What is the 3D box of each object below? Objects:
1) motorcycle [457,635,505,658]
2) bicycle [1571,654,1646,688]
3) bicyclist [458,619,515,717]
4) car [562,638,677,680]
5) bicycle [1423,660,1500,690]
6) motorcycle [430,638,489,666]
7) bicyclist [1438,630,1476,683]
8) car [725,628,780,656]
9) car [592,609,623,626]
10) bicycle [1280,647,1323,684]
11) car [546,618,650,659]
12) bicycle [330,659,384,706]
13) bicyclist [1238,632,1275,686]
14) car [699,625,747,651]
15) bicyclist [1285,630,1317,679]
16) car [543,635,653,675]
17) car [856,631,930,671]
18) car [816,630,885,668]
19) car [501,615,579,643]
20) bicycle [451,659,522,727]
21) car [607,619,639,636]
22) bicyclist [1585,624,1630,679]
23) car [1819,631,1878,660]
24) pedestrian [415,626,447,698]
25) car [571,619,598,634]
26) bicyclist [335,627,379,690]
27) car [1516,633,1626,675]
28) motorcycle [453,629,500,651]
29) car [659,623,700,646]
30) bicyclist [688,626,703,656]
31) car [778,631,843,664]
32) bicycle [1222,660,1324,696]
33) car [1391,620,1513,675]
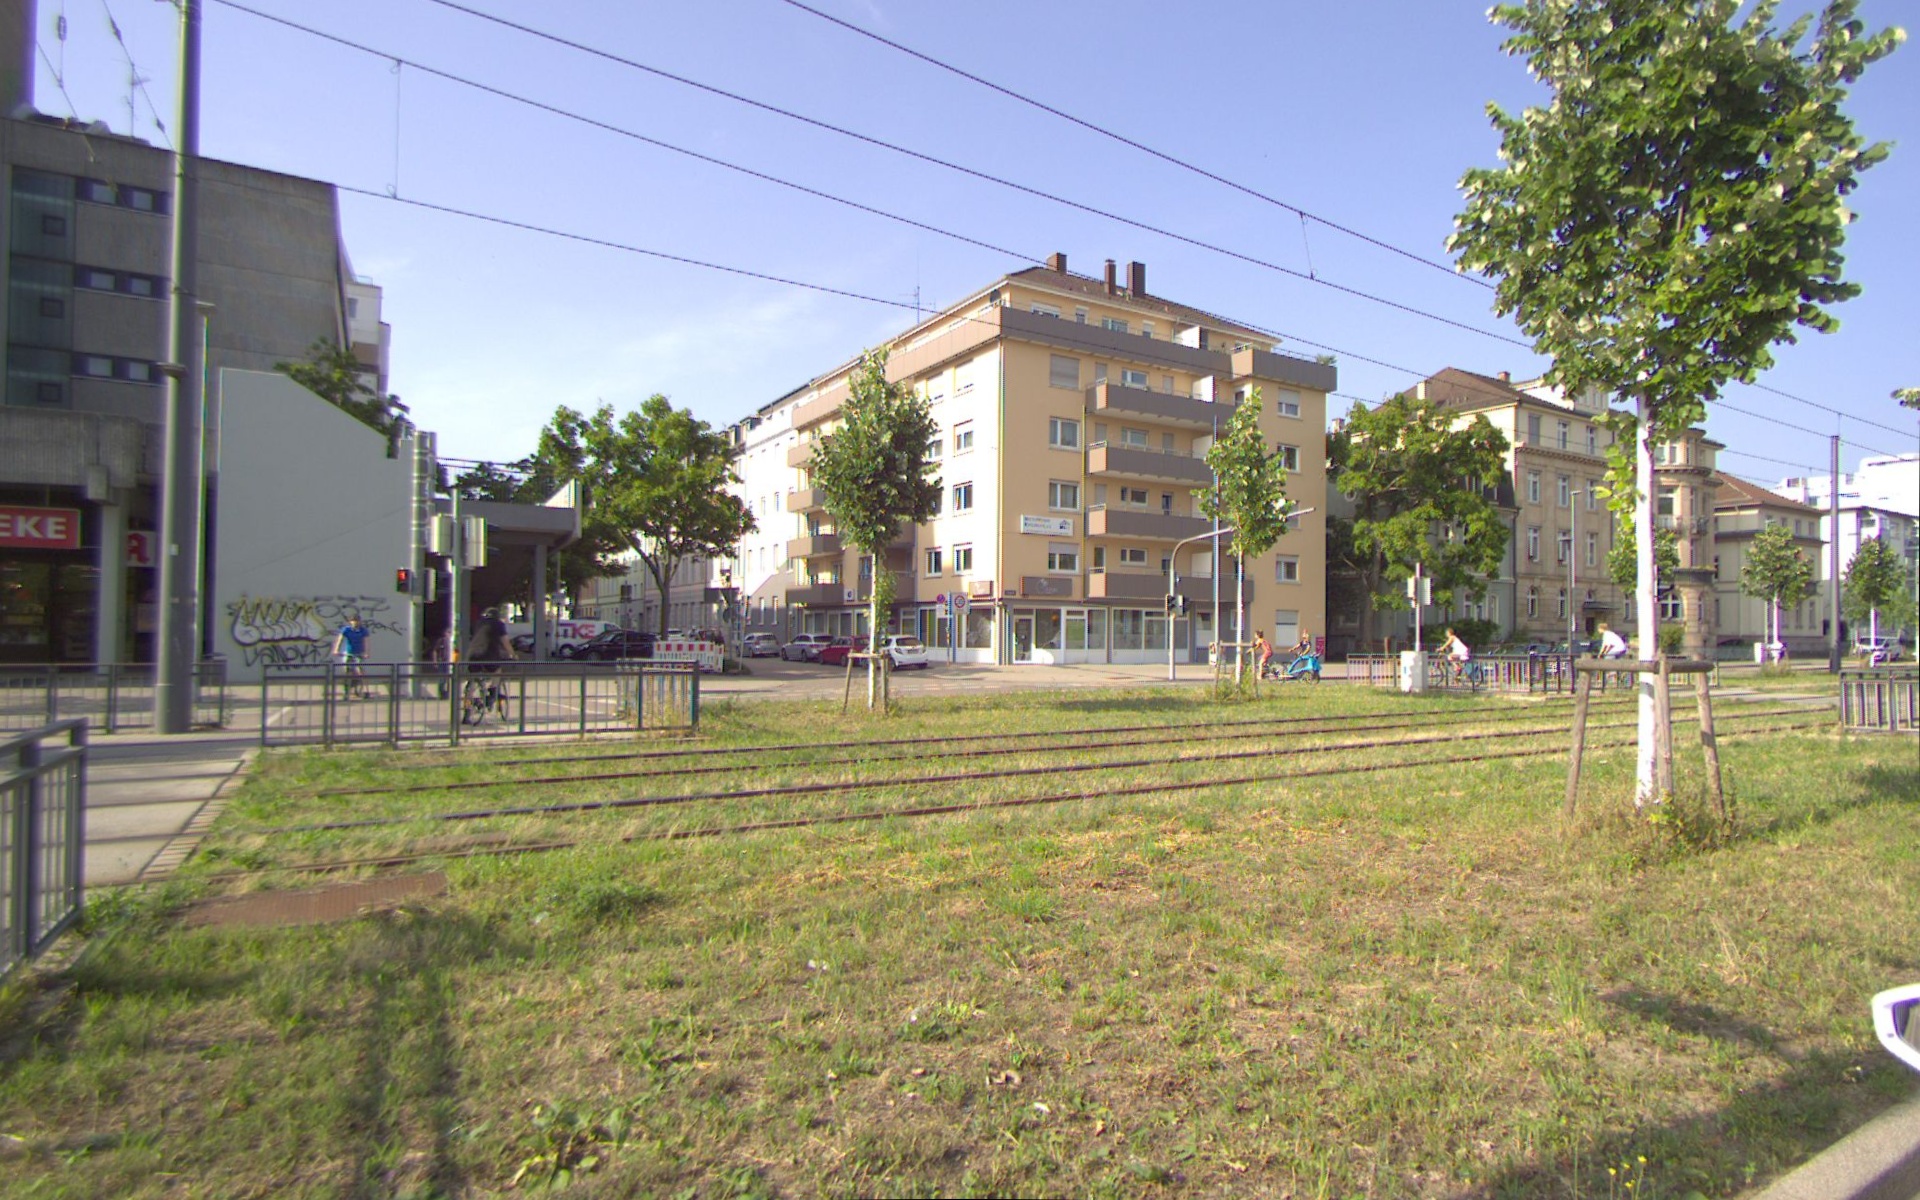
[{"bbox_3d":[-21.581,2.099,45.278,1.924,1.031,0.490,2,-2,-31],"label":"motorcycle"},{"bbox_3d":[17.613,1.923,27.312,1.573,0.808,0.720,2,0,-3],"label":"bicycle"},{"bbox_3d":[-7.120,1.022,15.146,0.536,1.413,0.972,-1,-3,-10],"label":"bicyclist"},{"bbox_3d":[-14.690,2.531,43.415,4.336,1.650,1.897,2,0,-34],"label":"car"},{"bbox_3d":[14.477,2.149,29.004,1.966,0.804,0.628,0,-2,27],"label":"bicycle"},{"bbox_3d":[-18.821,1.941,37.796,1.924,1.031,0.490,2,-2,-31],"label":"motorcycle"},{"bbox_3d":[14.387,1.622,29.063,0.968,1.520,0.620,0,-1,28],"label":"bicyclist"},{"bbox_3d":[-12.341,2.461,59.485,1.798,1.625,3.914,2,-2,-35],"label":"car"},{"bbox_3d":[-36.058,1.781,102.763,1.980,1.658,3.961,2,-2,-35],"label":"car"},{"bbox_3d":[13.032,2.471,38.290,1.741,1.364,0.690,2,-2,-36],"label":"bicycle"},{"bbox_3d":[-18.873,2.015,52.440,4.778,1.994,1.984,3,-2,-31],"label":"car"},{"bbox_3d":[-14.278,1.933,23.831,0.674,1.004,1.662,1,-2,-16],"label":"bicycle"},{"bbox_3d":[9.418,1.858,31.908,0.878,1.650,0.889,0,-2,35],"label":"bicyclist"},{"bbox_3d":[-15.592,2.472,65.976,1.798,1.625,3.914,2,-2,-35],"label":"car"},{"bbox_3d":[12.989,2.071,38.251,1.073,1.829,0.664,2,-2,-36],"label":"bicyclist"},{"bbox_3d":[-16.281,2.470,45.244,4.336,1.650,1.897,2,0,-34],"label":"car"},{"bbox_3d":[-2.977,2.214,44.145,1.691,1.604,3.601,-1,0,-34],"label":"car"},{"bbox_3d":[-5.296,2.330,48.143,1.756,1.711,3.765,2,-2,-33],"label":"car"},{"bbox_3d":[-28.839,1.988,68.971,4.715,1.843,1.984,2,-2,-31],"label":"car"},{"bbox_3d":[-7.110,1.378,15.148,0.547,0.947,1.611,-1,-4,-10],"label":"bicycle"},{"bbox_3d":[-32.200,2.610,95.913,1.798,1.625,3.914,2,-2,-35],"label":"car"},{"bbox_3d":[17.604,1.402,27.310,0.790,1.459,0.688,2,-3,-2],"label":"bicyclist"},{"bbox_3d":[72.081,3.666,81.429,5.208,2.040,2.236,4,-1,-33],"label":"car"},{"bbox_3d":[-12.866,1.496,24.433,0.637,1.712,0.656,1,-2,-28],"label":"pedestrian"},{"bbox_3d":[-39.700,2.804,106.101,1.798,1.625,3.914,2,-2,-35],"label":"car"},{"bbox_3d":[-14.285,1.378,23.831,0.675,1.459,1.020,1,-1,-20],"label":"bicyclist"},{"bbox_3d":[23.731,2.080,38.960,4.351,1.533,1.982,2,-2,-33],"label":"car"},{"bbox_3d":[-22.886,1.890,47.555,1.924,1.031,0.552,2,-2,-31],"label":"motorcycle"},{"bbox_3d":[-20.809,2.533,74.416,1.798,1.625,3.914,2,-2,-35],"label":"car"},{"bbox_3d":[-12.829,1.987,48.718,0.692,1.404,0.910,-1,-1,-17],"label":"bicyclist"},{"bbox_3d":[-7.800,2.425,52.179,1.797,1.625,3.915,2,-2,-34],"label":"car"},{"bbox_3d":[9.822,2.425,31.585,2.948,0.978,0.897,0,-2,35],"label":"bicycle"},{"bbox_3d":[19.591,1.871,39.910,5.246,2.040,1.982,2,-2,-33],"label":"car"}]
